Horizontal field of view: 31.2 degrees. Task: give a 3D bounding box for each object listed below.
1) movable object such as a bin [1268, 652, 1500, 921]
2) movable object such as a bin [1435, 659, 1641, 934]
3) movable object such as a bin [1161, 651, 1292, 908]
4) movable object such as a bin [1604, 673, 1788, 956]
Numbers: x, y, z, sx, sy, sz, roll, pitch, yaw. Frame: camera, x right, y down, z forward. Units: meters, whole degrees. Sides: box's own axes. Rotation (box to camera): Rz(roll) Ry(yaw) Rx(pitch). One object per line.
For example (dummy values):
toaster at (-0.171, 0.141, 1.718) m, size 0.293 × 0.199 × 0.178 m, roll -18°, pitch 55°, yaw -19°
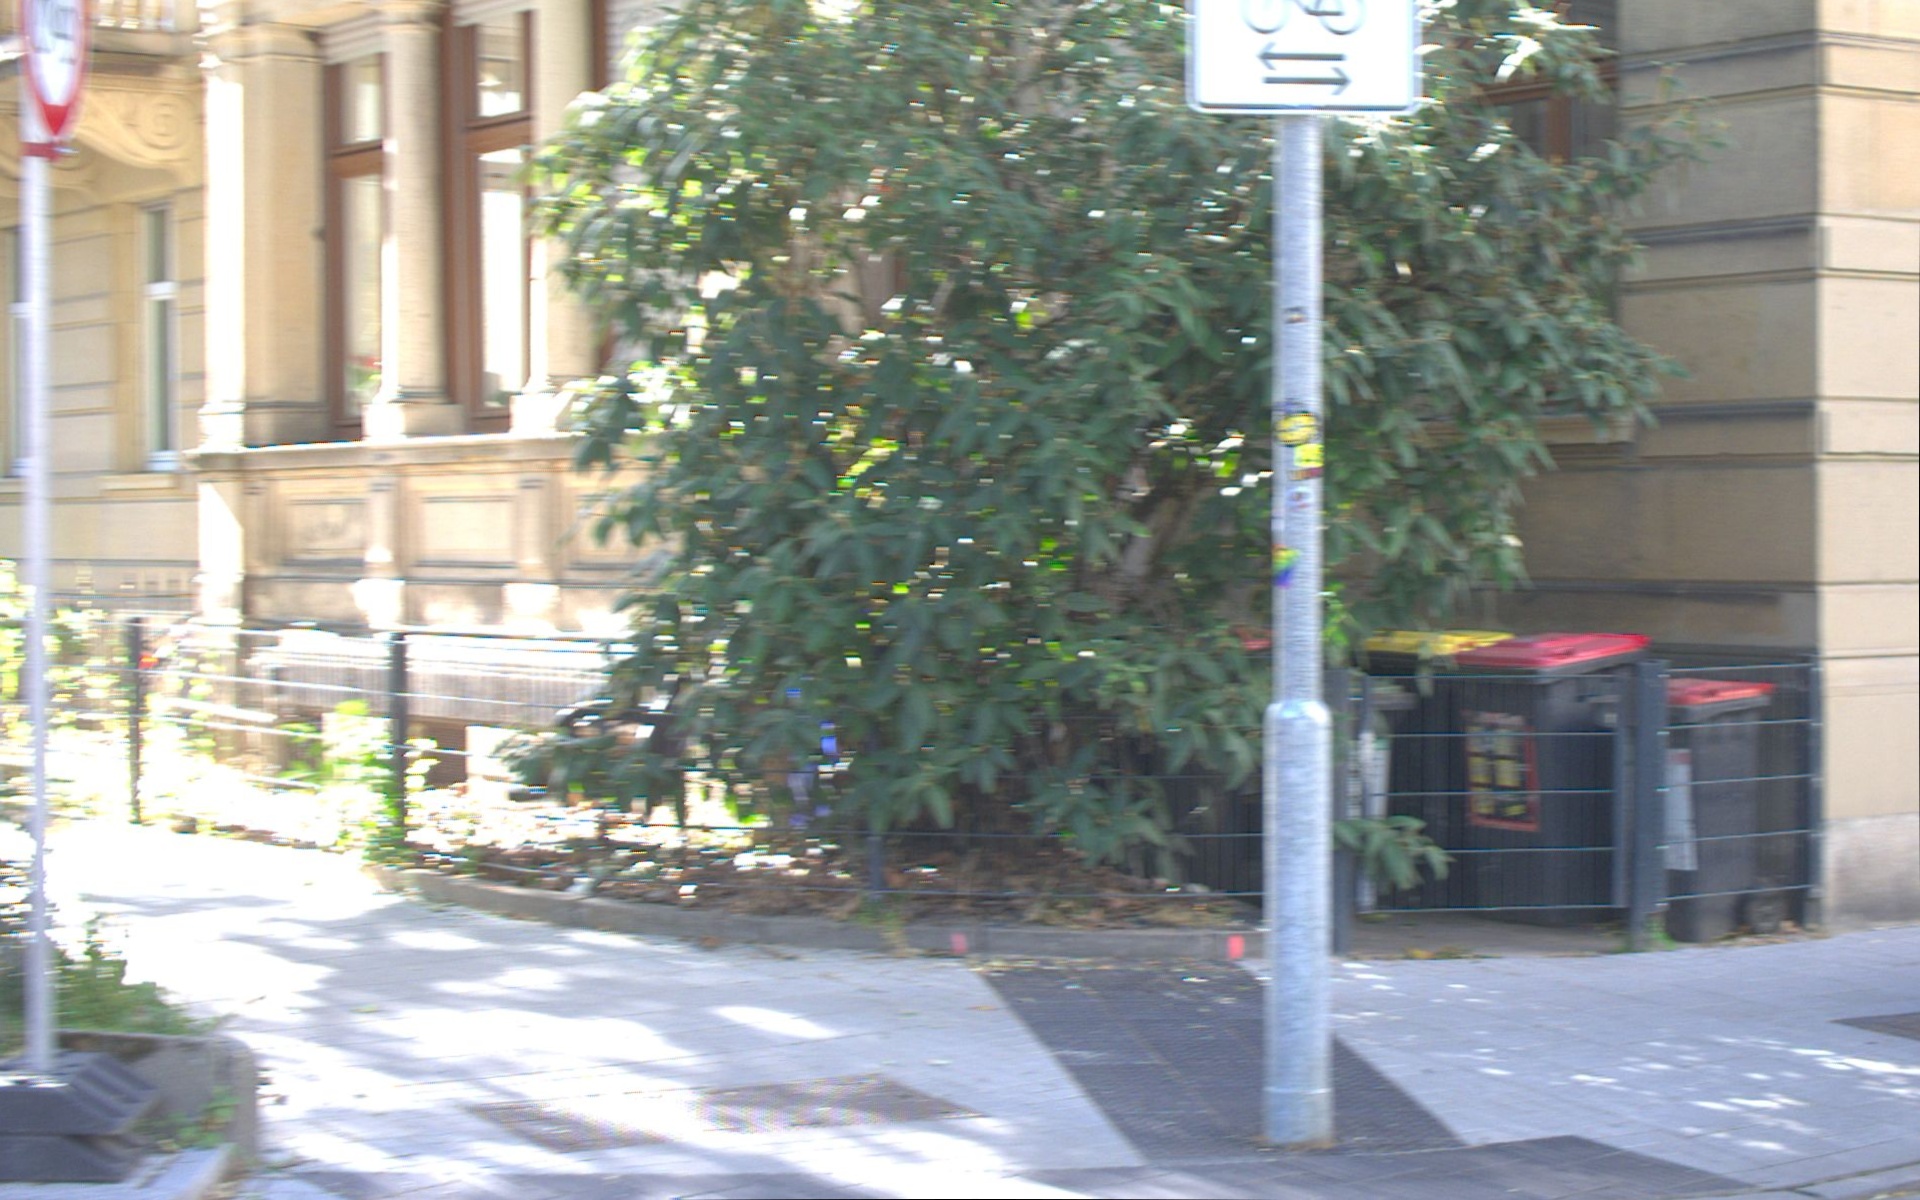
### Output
movable object such as a bin at (1.624, 0.698, 13.184) m, size 0.687 × 0.967 × 0.548 m, roll -1°, pitch 1°, yaw -34°
movable object such as a bin at (2.148, 0.717, 12.796) m, size 0.519 × 0.967 × 0.548 m, roll -1°, pitch 1°, yaw -34°
movable object such as a bin at (1.041, 0.694, 13.444) m, size 0.344 × 0.967 × 0.382 m, roll -1°, pitch 1°, yaw -34°
movable object such as a bin at (2.651, 0.759, 12.386) m, size 0.519 × 0.967 × 0.398 m, roll -1°, pitch 1°, yaw -34°
